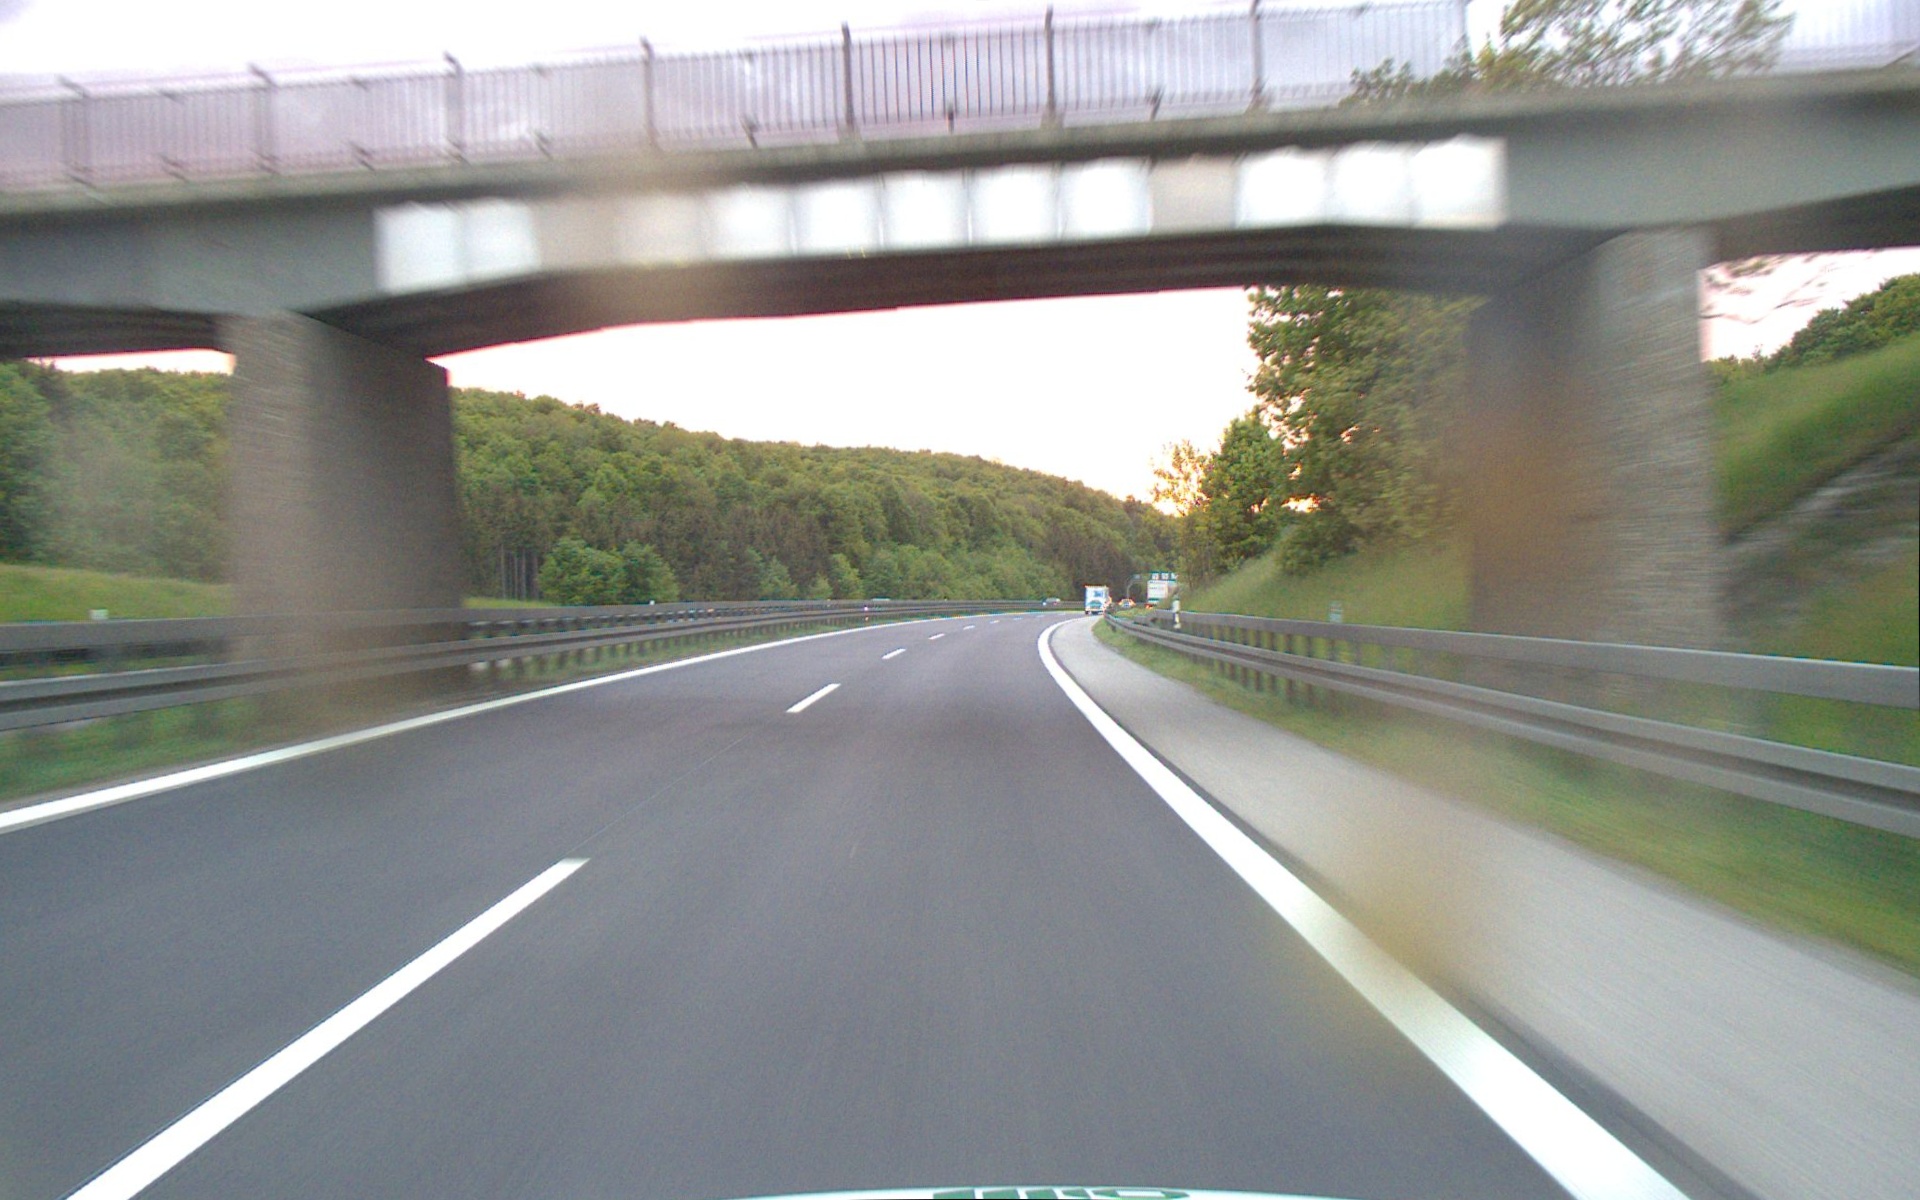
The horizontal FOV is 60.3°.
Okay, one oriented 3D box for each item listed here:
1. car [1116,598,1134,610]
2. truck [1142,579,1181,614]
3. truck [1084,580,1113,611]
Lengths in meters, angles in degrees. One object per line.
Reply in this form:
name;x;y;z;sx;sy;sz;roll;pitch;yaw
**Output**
car;21.459;0.494;214.790;1.951;1.544;4.004;0;0;11
truck;26.790;-0.521;219.051;3.873;4.362;14.336;0;0;12
truck;13.350;-0.458;158.839;2.227;2.711;5.241;-1;2;10
